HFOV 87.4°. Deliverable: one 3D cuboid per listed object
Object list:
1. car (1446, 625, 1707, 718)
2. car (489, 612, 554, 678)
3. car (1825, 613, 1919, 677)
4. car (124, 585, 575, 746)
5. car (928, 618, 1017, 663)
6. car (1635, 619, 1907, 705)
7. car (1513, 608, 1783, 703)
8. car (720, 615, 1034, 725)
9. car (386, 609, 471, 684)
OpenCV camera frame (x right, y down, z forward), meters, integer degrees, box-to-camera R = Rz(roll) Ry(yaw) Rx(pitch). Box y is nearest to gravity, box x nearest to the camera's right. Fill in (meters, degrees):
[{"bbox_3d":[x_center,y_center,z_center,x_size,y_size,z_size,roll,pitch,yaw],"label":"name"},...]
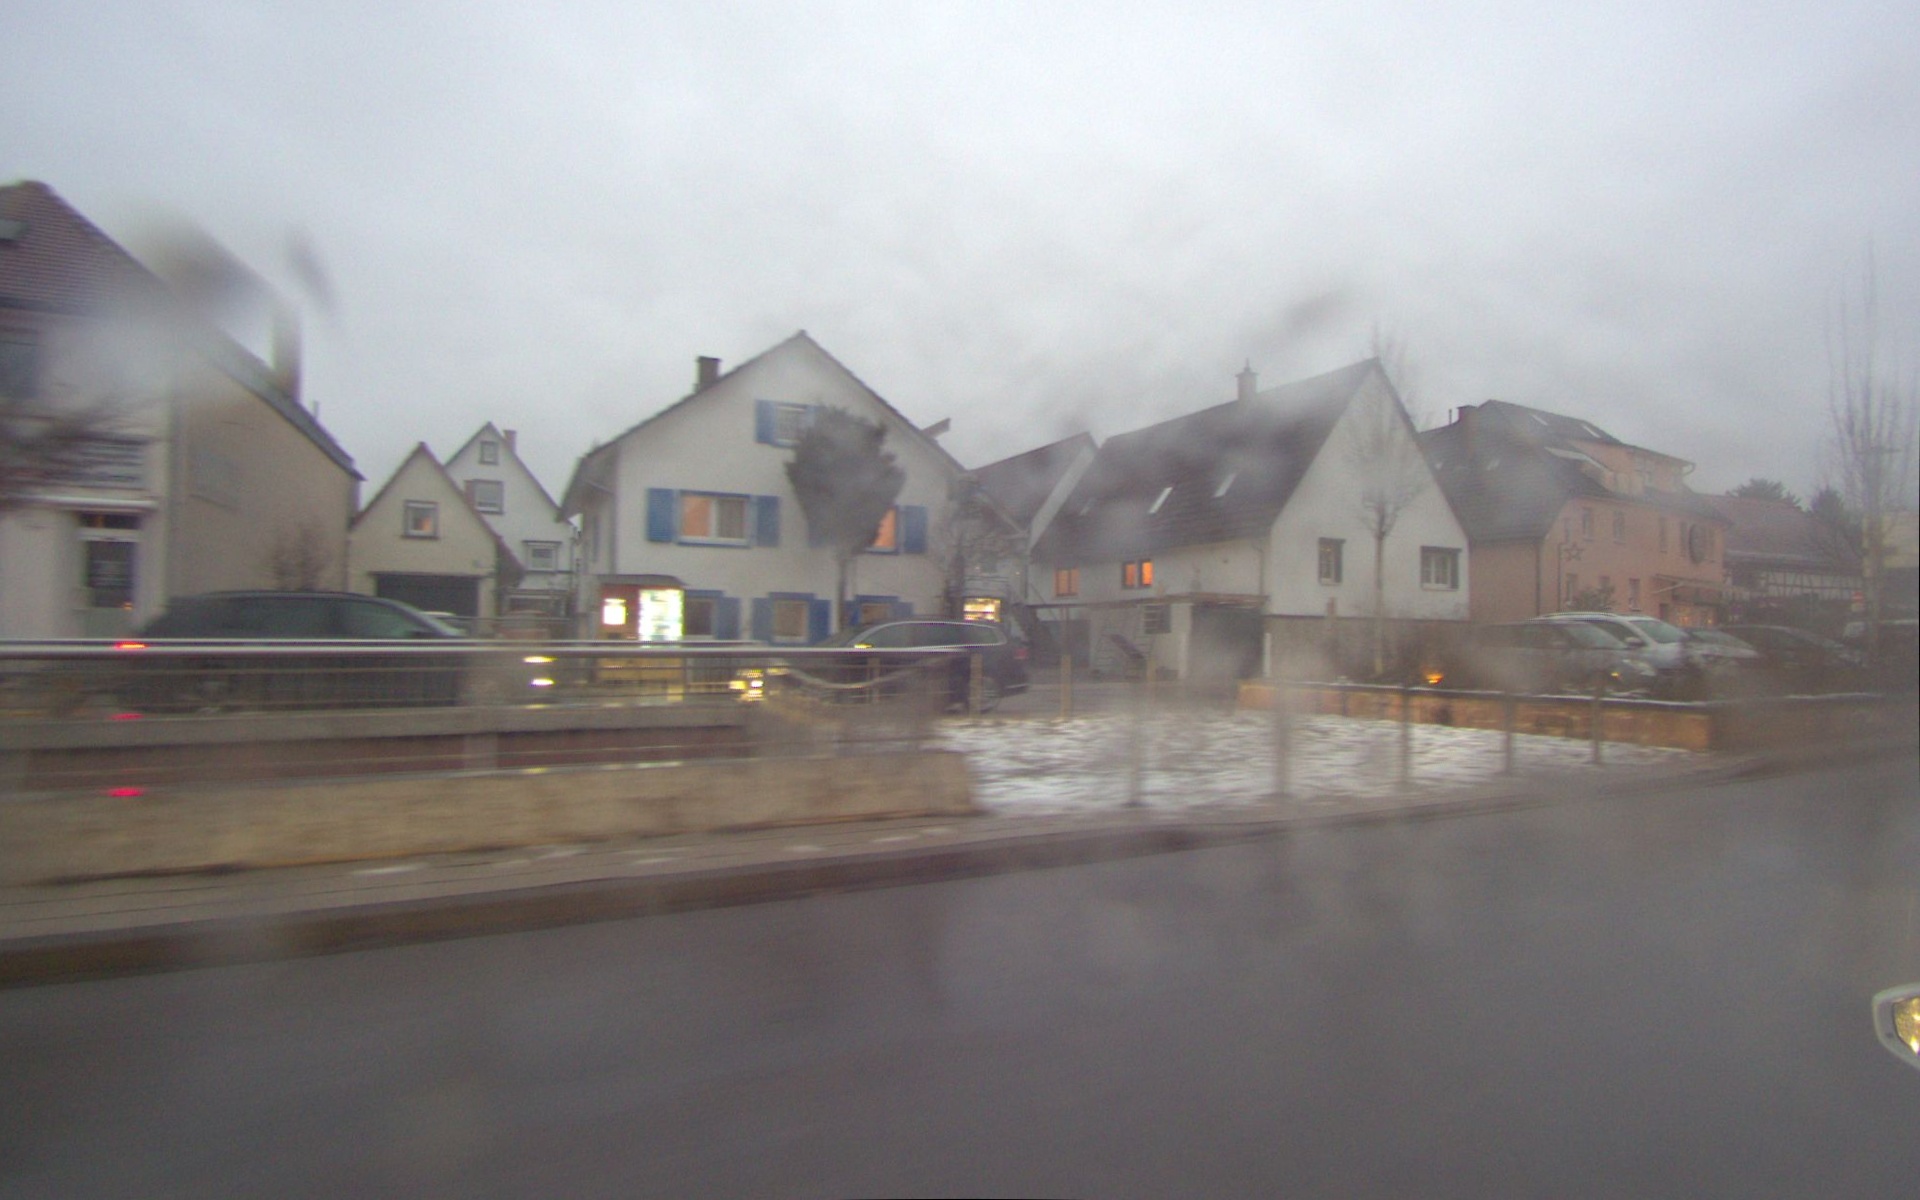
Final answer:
[{"bbox_3d":[10.236,1.131,16.910,1.582,1.390,3.428,1,-2,-30],"label":"car"},{"bbox_3d":[-13.188,1.381,30.349,1.651,1.865,3.647,0,-3,-22],"label":"car"},{"bbox_3d":[26.326,1.230,26.761,1.978,1.689,4.600,2,-1,-32],"label":"car"},{"bbox_3d":[-7.250,0.777,12.513,4.502,1.723,1.751,1,-3,-25],"label":"car"},{"bbox_3d":[0.390,1.462,36.899,1.891,1.516,3.922,2,-2,-22],"label":"car"},{"bbox_3d":[17.171,1.271,21.490,1.856,1.517,4.112,4,-1,-27],"label":"car"},{"bbox_3d":[12.468,0.948,18.480,1.690,1.543,3.785,2,-1,-23],"label":"car"},{"bbox_3d":[-1.244,1.023,15.565,4.515,1.502,1.795,1,-3,-28],"label":"car"},{"bbox_3d":[-15.583,1.388,29.613,1.810,2.045,3.565,0,-3,-22],"label":"car"}]
